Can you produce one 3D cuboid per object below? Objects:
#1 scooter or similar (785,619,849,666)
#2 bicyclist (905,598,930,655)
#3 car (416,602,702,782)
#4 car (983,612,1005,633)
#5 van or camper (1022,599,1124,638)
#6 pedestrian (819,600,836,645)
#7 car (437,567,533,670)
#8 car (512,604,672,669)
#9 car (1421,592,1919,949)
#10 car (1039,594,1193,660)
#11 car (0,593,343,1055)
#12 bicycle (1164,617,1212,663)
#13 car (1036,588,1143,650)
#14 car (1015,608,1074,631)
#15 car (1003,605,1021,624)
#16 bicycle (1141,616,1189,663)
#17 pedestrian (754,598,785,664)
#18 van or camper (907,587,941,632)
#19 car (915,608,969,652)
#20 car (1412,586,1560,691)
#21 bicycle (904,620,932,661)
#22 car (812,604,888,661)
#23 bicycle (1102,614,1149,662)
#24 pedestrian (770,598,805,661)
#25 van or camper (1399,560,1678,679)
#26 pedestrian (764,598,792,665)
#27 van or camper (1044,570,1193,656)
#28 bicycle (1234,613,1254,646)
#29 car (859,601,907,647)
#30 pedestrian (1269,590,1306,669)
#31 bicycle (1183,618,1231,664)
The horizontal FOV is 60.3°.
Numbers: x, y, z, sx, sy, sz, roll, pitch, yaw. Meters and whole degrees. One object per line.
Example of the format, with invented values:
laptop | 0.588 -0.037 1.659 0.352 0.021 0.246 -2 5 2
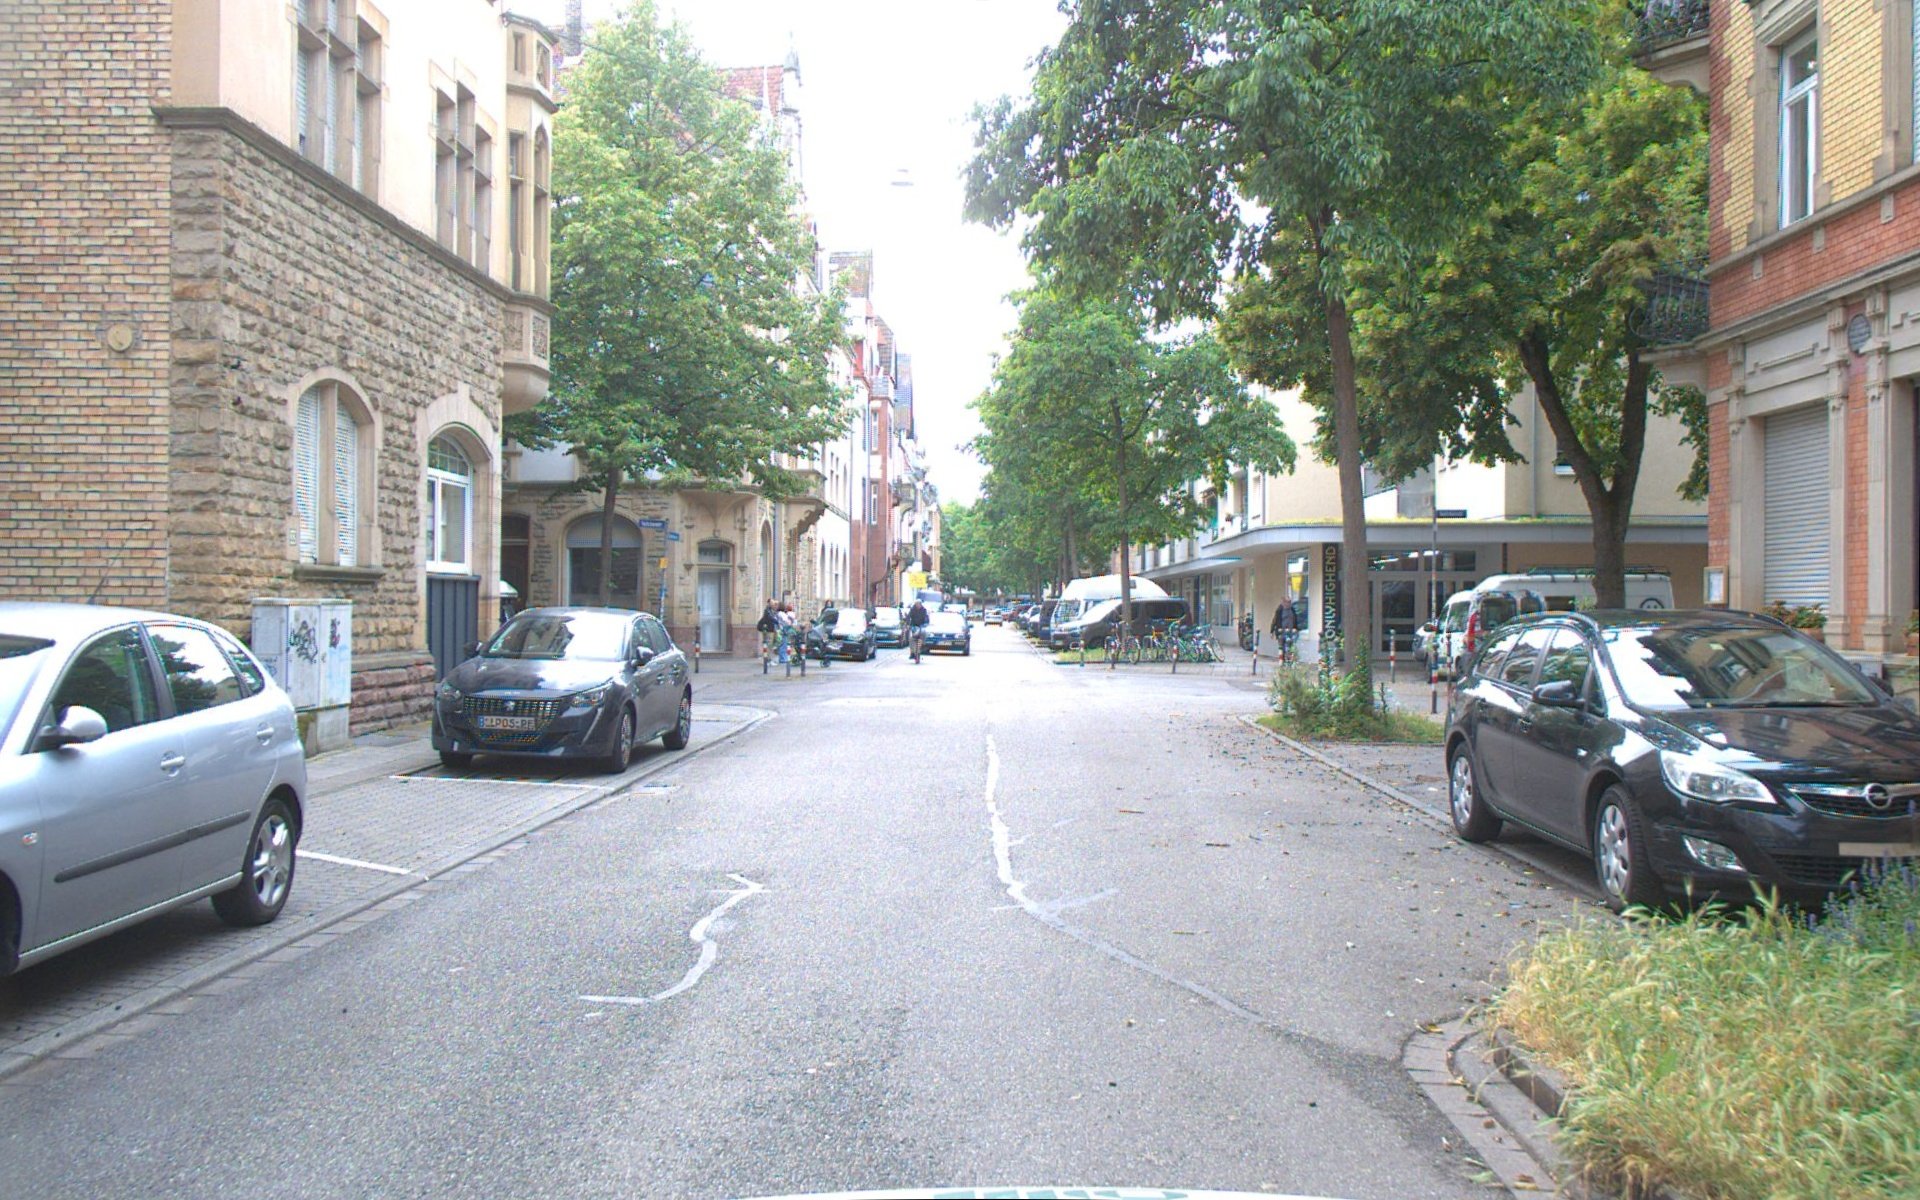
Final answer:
scooter or similar | -3.651 1.085 42.184 1.438 1.123 0.676 2 0 13
bicyclist | -1.174 0.732 45.825 0.634 1.565 0.677 -1 -1 3
car | -3.720 0.787 16.029 1.692 1.459 3.882 2 0 2
car | 3.121 2.111 151.288 1.952 1.825 4.000 2 -1 2
van or camper | 5.955 0.980 87.146 4.946 1.902 2.109 -1 -1 -27
pedestrian | -4.621 0.787 57.707 0.505 1.545 0.546 0 0 1
car | -9.729 0.365 34.089 1.797 2.002 3.946 0 0 -15
car | -9.106 0.892 41.063 3.492 1.485 1.651 -1 1 10
car | 4.097 0.743 9.434 1.728 1.512 4.480 -2 0 1
car | 4.684 0.790 49.688 4.275 1.886 1.897 0 0 -24
car | -3.879 0.724 6.333 1.557 1.459 3.809 2 0 0
bicycle | 6.039 1.051 43.869 0.540 1.194 1.718 0 0 -20
car | 4.841 0.680 61.324 2.026 2.235 4.382 0 0 36
car | 6.161 1.422 120.750 3.967 1.587 1.866 1 -1 -30
car | 6.035 1.647 191.233 1.953 2.049 4.000 3 0 1
bicycle | 5.410 1.027 43.652 0.540 1.194 1.718 0 0 -20
pedestrian | -4.909 0.798 42.729 0.603 1.672 0.604 1 0 13
van or camper | -2.310 0.554 107.905 1.966 2.697 5.318 0 2 1
car | -0.596 1.037 56.174 1.673 1.438 3.853 0 -1 2
car | 9.767 0.682 31.022 1.733 1.851 4.002 0 0 4
bicycle | -1.163 1.113 45.807 0.620 1.113 1.800 0 -1 3
car | -3.092 0.933 47.143 1.674 1.521 4.001 2 -1 3
bicycle | 4.293 0.978 43.088 0.540 1.194 1.718 0 0 -20
pedestrian | -4.540 0.770 43.521 0.620 1.621 0.666 0 0 42
van or camper | 12.950 0.404 37.413 5.647 2.537 2.139 0 3 9
pedestrian | -4.631 0.805 42.091 0.516 1.672 0.529 1 0 13
van or camper | 5.073 0.400 52.750 4.536 2.641 1.891 0 0 -32
bicycle | 9.672 1.006 56.330 0.474 1.109 1.701 0 0 3
car | -2.860 0.888 61.998 1.612 1.598 2.957 2 1 0
pedestrian | 7.638 0.690 38.631 0.762 1.828 0.509 1 0 3
bicycle | 6.595 1.077 44.240 0.540 1.194 1.687 0 0 -20
